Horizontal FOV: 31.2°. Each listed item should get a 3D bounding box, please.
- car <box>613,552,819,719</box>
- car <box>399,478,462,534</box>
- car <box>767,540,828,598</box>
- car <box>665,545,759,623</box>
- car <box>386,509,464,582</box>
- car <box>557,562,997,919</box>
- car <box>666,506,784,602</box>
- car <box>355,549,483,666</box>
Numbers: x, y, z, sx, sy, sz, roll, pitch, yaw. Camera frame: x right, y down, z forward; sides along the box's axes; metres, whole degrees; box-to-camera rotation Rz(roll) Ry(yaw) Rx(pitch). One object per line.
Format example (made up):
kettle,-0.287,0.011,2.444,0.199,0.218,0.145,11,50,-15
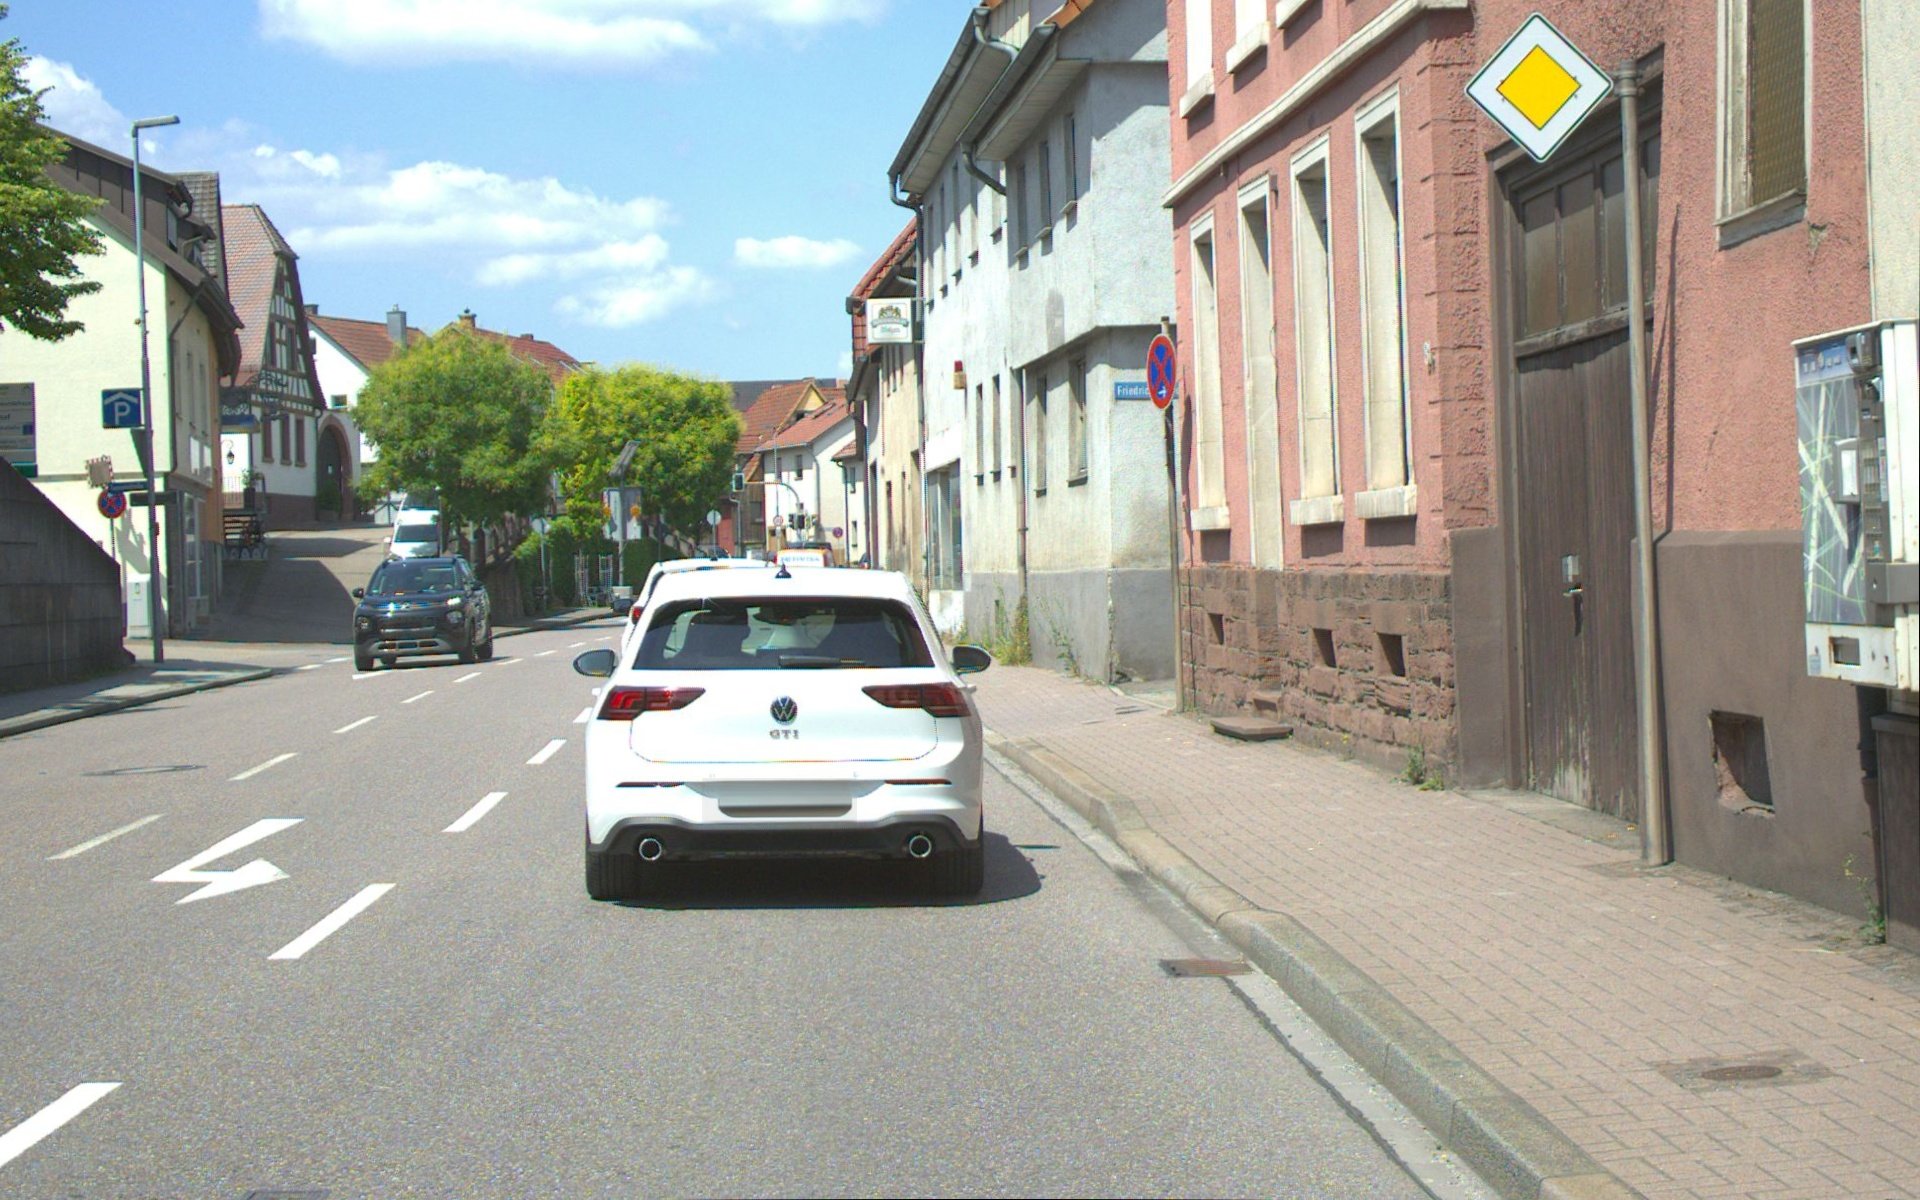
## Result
car,-2.352,0.301,32.418,1.807,1.462,4.001,1,0,-6
car,-15.800,-2.820,102.687,1.576,1.357,3.857,-1,6,-4
car,-5.147,-0.996,109.301,1.775,1.759,4.000,-1,1,-1
car,-5.094,-0.345,71.008,1.775,1.533,4.000,-1,1,-2
car,-14.015,-1.451,90.200,1.693,1.537,3.857,-1,6,-4
car,-0.740,0.570,16.275,1.808,1.462,4.000,1,0,1
car,-3.789,-0.731,55.149,1.807,1.462,4.001,1,0,-4
car,-8.075,0.083,51.564,1.669,1.652,4.018,-1,1,-6
